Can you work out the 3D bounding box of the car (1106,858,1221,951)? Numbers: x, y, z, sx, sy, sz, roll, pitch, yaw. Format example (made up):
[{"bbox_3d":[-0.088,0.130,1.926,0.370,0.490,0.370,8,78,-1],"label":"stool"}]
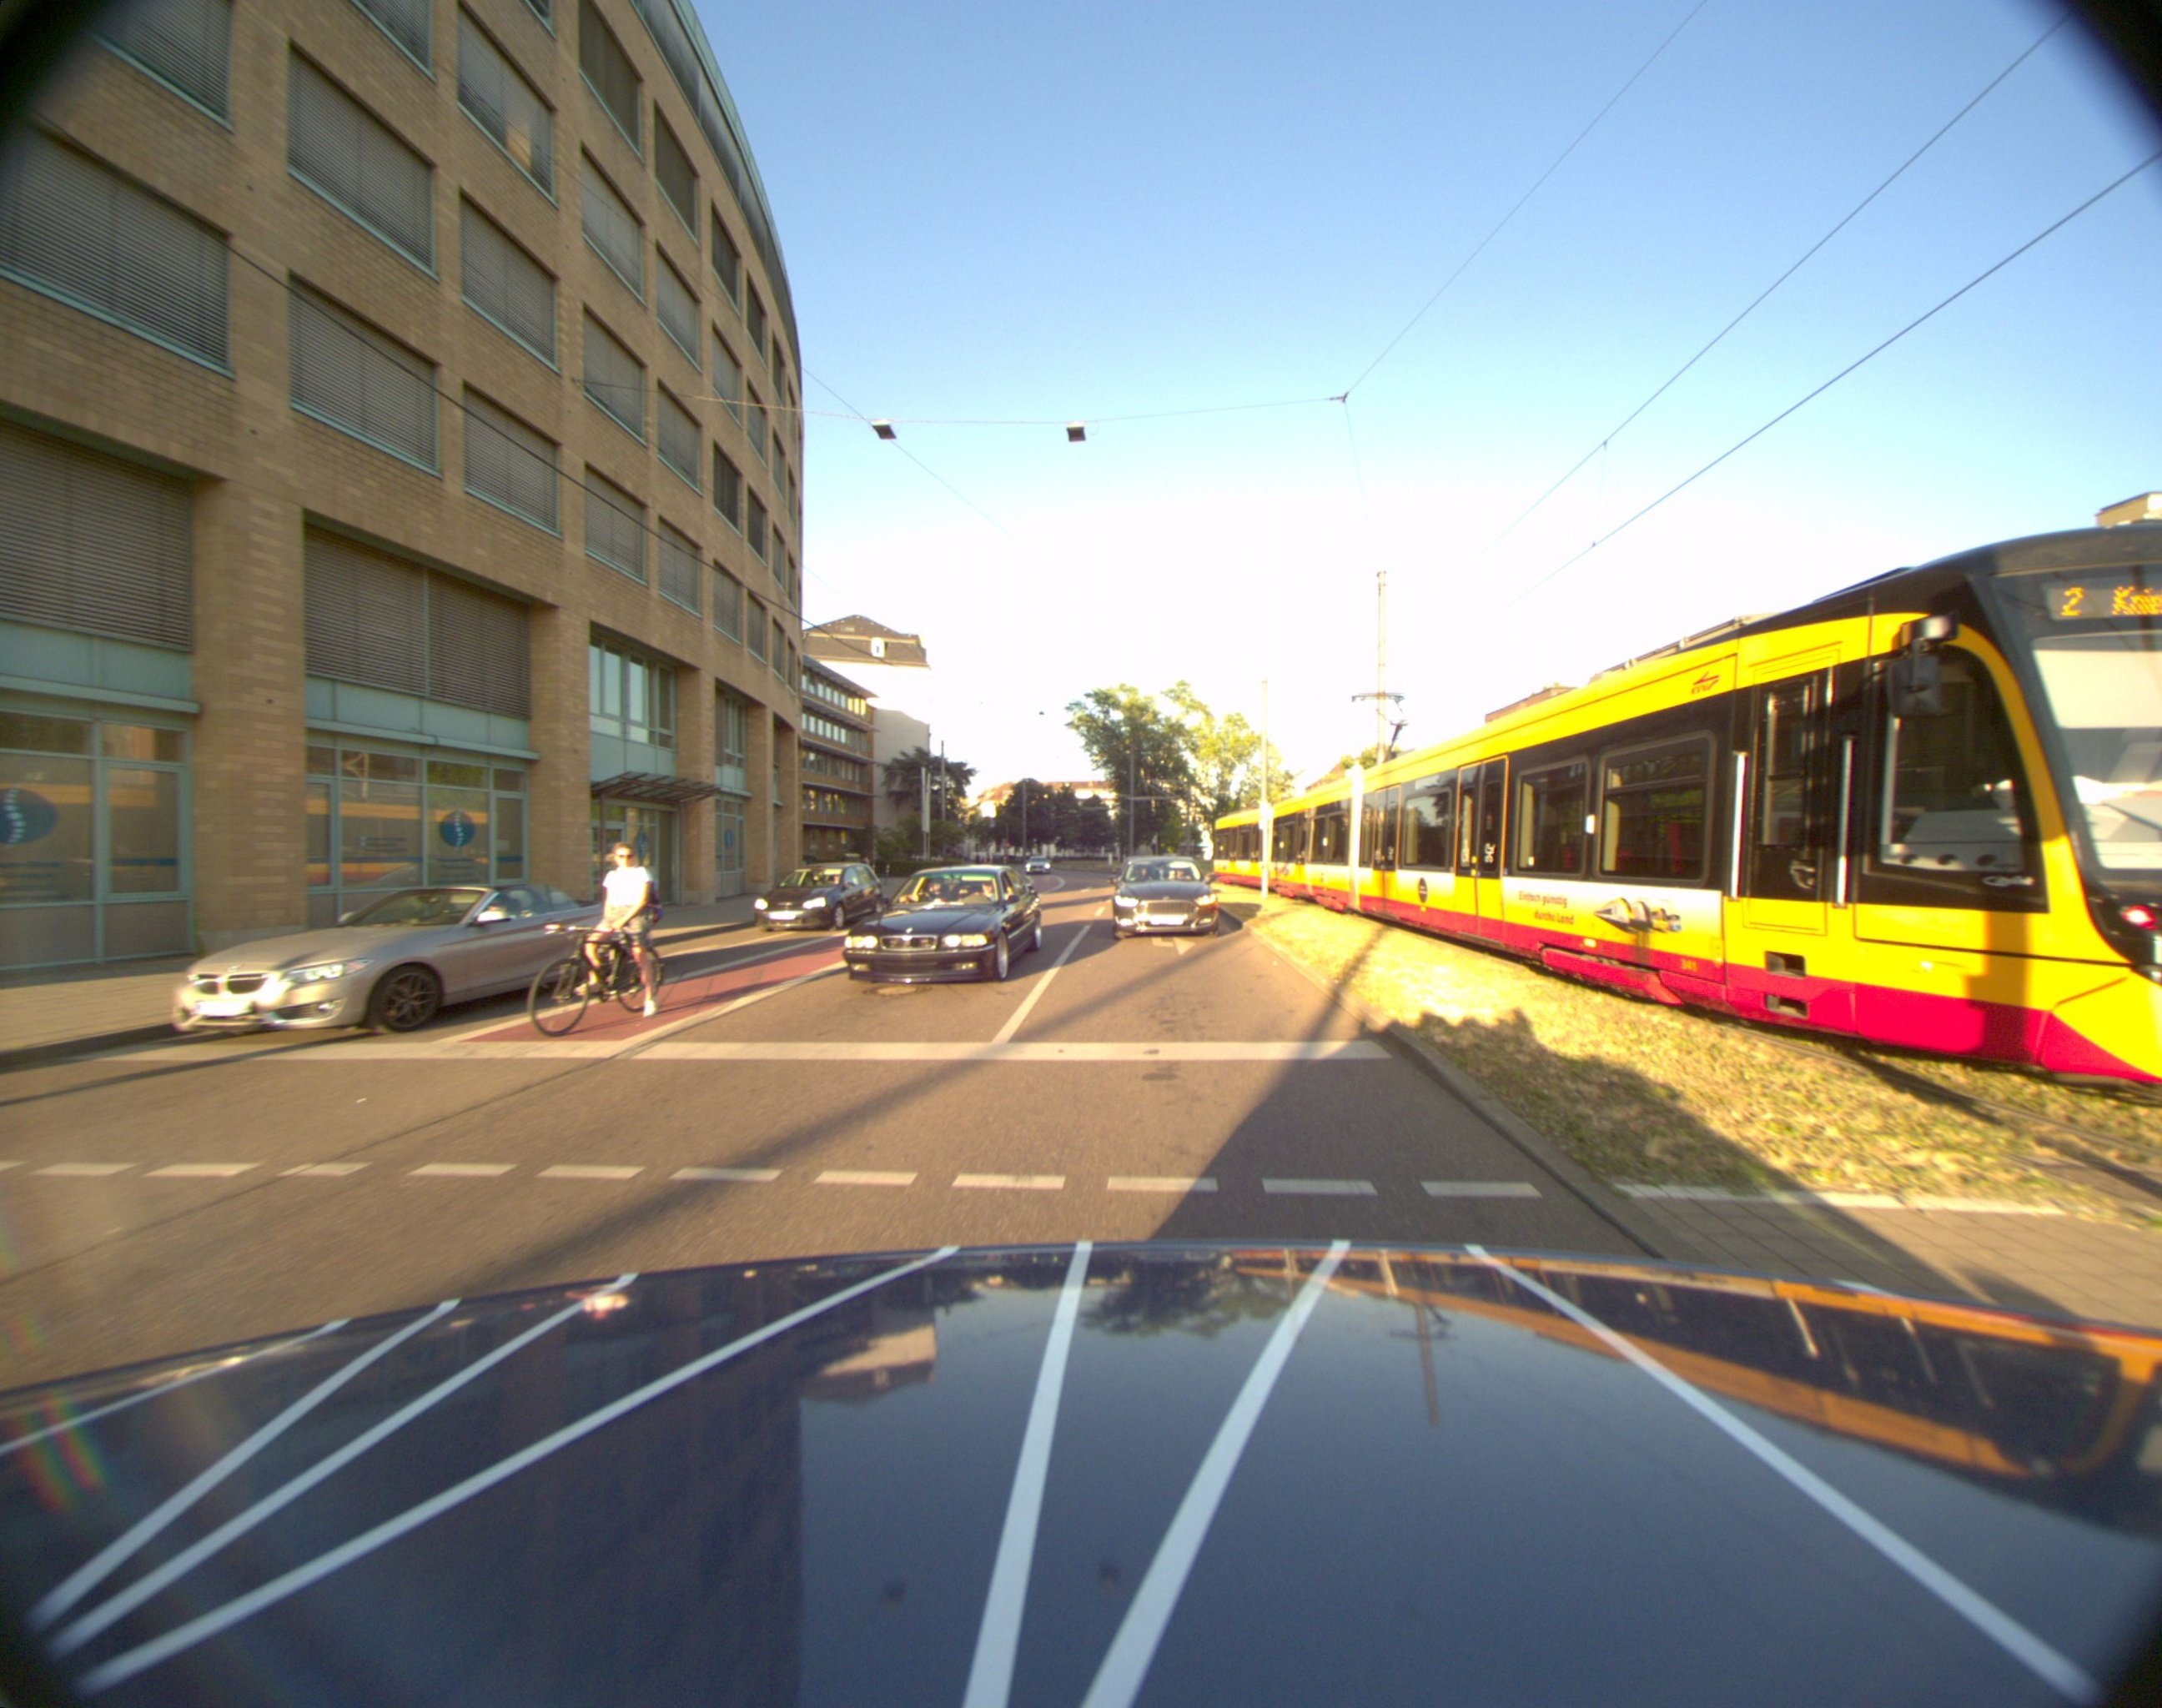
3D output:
[{"bbox_3d":[1.590,0.848,14.889,1.889,1.477,4.727,0,0,6],"label":"car"}]

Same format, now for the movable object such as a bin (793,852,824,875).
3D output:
[{"bbox_3d":[-17.140,0.575,47.814,1.426,1.450,1.333,0,1,3],"label":"movable object such as a bin"}]

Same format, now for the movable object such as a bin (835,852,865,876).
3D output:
[{"bbox_3d":[-14.221,0.628,46.881,1.426,1.450,1.333,0,1,1],"label":"movable object such as a bin"}]

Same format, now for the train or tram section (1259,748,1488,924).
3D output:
[{"bbox_3d":[7.633,-0.410,22.259,2.883,3.717,12.186,0,0,4],"label":"train or tram section"}]

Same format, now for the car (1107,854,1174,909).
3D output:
[{"bbox_3d":[1.931,0.789,24.019,1.896,1.526,4.707,0,0,6],"label":"car"}]

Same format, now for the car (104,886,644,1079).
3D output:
[{"bbox_3d":[-7.079,1.143,8.384,1.747,1.377,4.229,0,0,6],"label":"car"}]

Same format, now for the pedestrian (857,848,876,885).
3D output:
[{"bbox_3d":[-9.812,0.580,34.828,0.627,1.672,0.714,0,1,2],"label":"pedestrian"}]

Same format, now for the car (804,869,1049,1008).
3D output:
[{"bbox_3d":[-1.783,0.969,10.575,1.998,1.377,4.741,-1,0,6],"label":"car"}]

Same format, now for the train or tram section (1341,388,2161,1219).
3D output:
[{"bbox_3d":[6.597,-0.264,9.893,2.915,3.717,13.222,0,0,5],"label":"train or tram section"}]

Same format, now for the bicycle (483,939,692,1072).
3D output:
[{"bbox_3d":[-4.512,1.342,7.141,0.635,0.868,1.870,0,0,4],"label":"bicycle"}]

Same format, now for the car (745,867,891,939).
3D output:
[{"bbox_3d":[-5.888,1.036,17.555,1.758,1.379,4.001,0,0,4],"label":"car"}]

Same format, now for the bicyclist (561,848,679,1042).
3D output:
[{"bbox_3d":[-4.500,0.844,7.470,0.635,1.810,0.777,0,1,4],"label":"bicyclist"}]

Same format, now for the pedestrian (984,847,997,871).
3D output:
[{"bbox_3d":[-7.309,0.384,61.422,0.912,1.883,1.125,-1,1,-12],"label":"pedestrian"}]

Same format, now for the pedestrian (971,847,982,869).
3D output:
[{"bbox_3d":[-8.827,0.330,64.270,0.728,1.797,0.724,0,1,5],"label":"pedestrian"}]

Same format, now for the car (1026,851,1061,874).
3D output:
[{"bbox_3d":[-2.972,0.649,61.153,1.997,1.740,4.003,0,0,10],"label":"car"}]

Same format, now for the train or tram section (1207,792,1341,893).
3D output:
[{"bbox_3d":[8.145,-0.457,34.181,2.913,3.717,12.190,0,0,0],"label":"train or tram section"}]
